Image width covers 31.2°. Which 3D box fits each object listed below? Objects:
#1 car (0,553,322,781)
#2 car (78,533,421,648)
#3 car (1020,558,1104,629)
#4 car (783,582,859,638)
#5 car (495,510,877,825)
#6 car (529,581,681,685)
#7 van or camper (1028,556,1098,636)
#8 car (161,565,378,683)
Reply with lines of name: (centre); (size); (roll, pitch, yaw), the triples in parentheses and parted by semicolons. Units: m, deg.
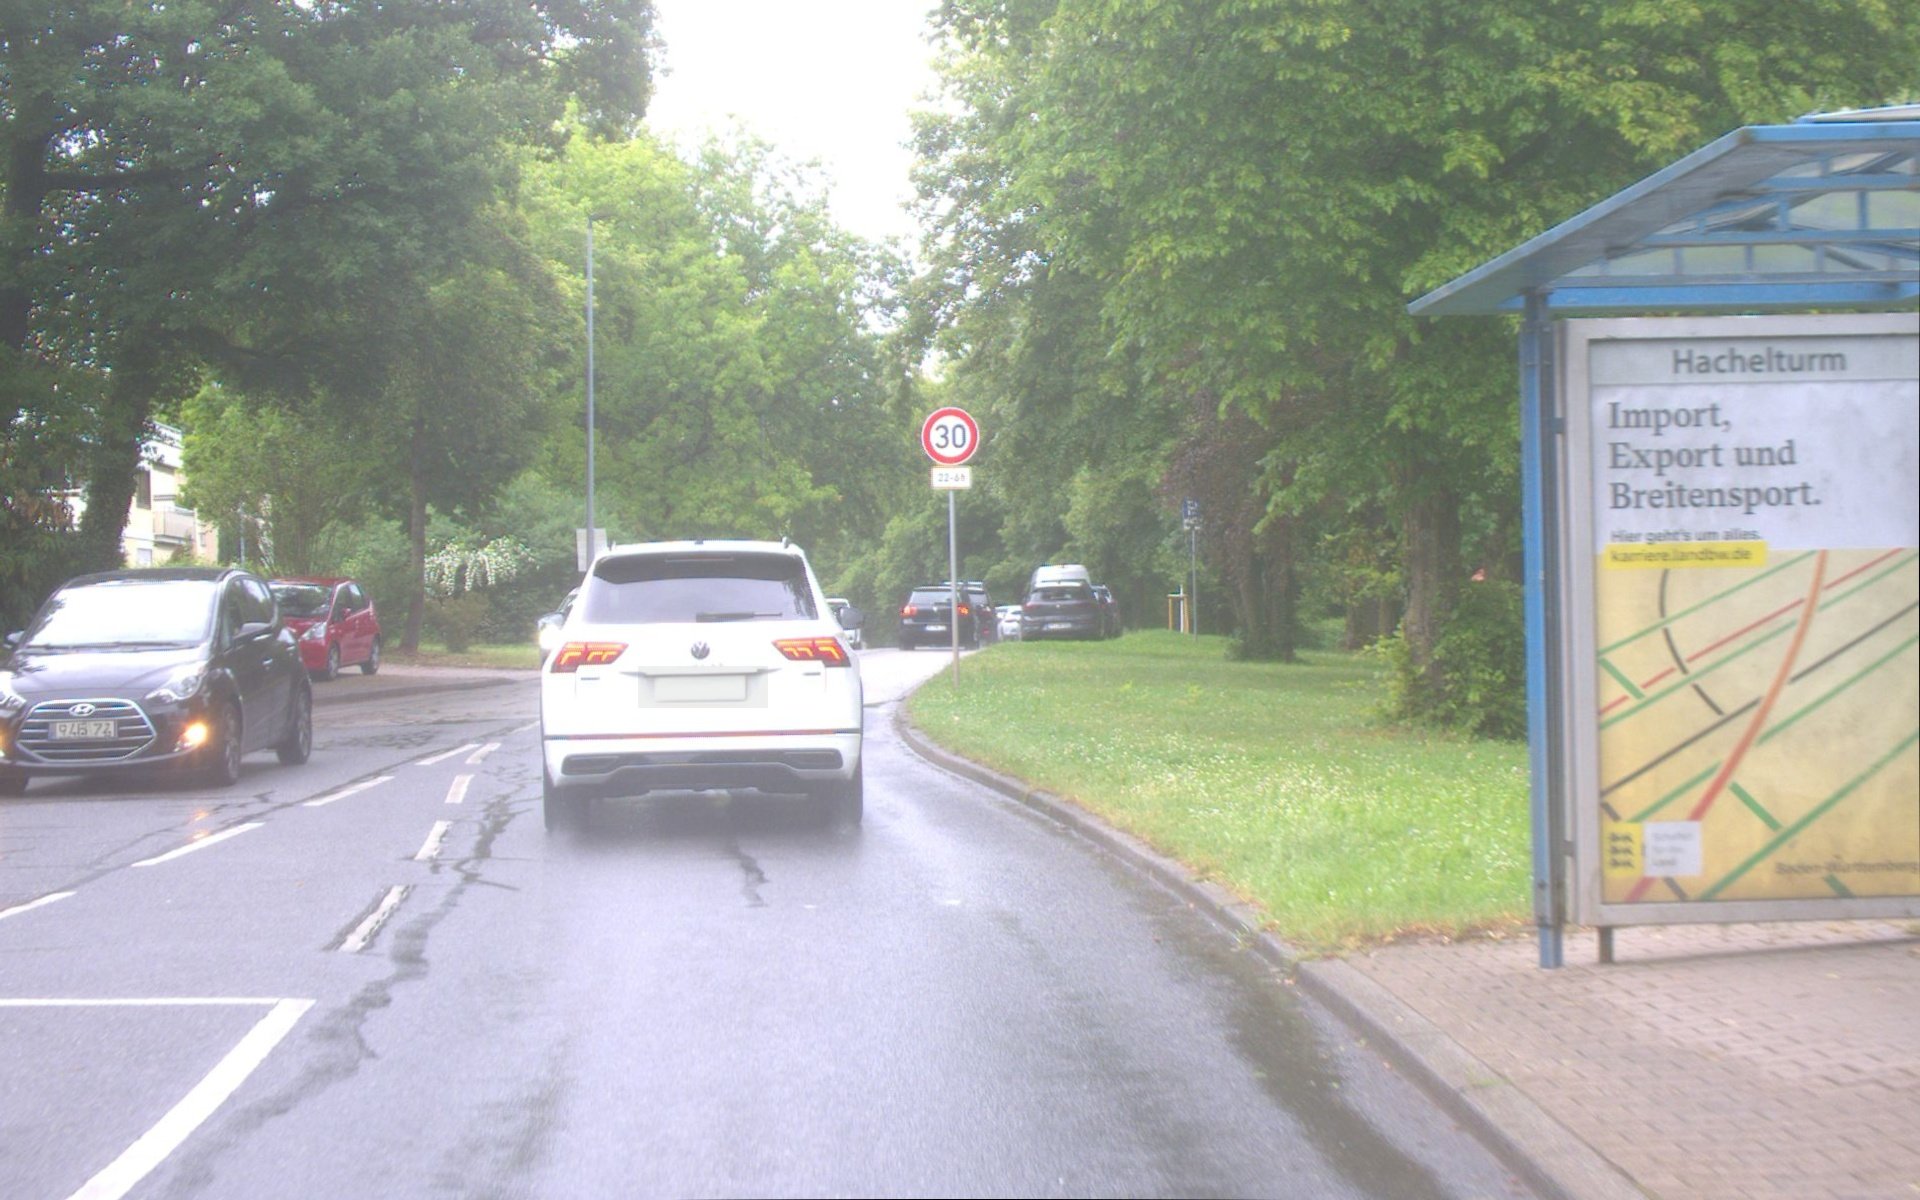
car: (-6.182, 0.442, 25.996); (1.993, 1.571, 4.000); (-1, 1, -1)
car: (-13.127, -0.185, 63.973); (5.742, 2.031, 3.479); (1, 0, -2)
car: (2.281, -0.122, 76.182); (1.701, 1.457, 4.216); (-2, 0, 3)
car: (-3.775, 0.257, 93.711); (1.700, 1.405, 4.008); (-3, 0, 2)
car: (-1.538, 0.352, 20.784); (1.905, 1.679, 4.200); (-1, 0, 1)
car: (-5.437, 0.472, 53.098); (1.790, 1.418, 4.359); (-3, 1, 0)
van or camper: (3.502, -0.127, 115.192); (2.016, 2.574, 8.434); (1, 0, 4)
car: (-10.255, 0.323, 51.358); (1.994, 1.511, 3.999); (1, 3, 7)
